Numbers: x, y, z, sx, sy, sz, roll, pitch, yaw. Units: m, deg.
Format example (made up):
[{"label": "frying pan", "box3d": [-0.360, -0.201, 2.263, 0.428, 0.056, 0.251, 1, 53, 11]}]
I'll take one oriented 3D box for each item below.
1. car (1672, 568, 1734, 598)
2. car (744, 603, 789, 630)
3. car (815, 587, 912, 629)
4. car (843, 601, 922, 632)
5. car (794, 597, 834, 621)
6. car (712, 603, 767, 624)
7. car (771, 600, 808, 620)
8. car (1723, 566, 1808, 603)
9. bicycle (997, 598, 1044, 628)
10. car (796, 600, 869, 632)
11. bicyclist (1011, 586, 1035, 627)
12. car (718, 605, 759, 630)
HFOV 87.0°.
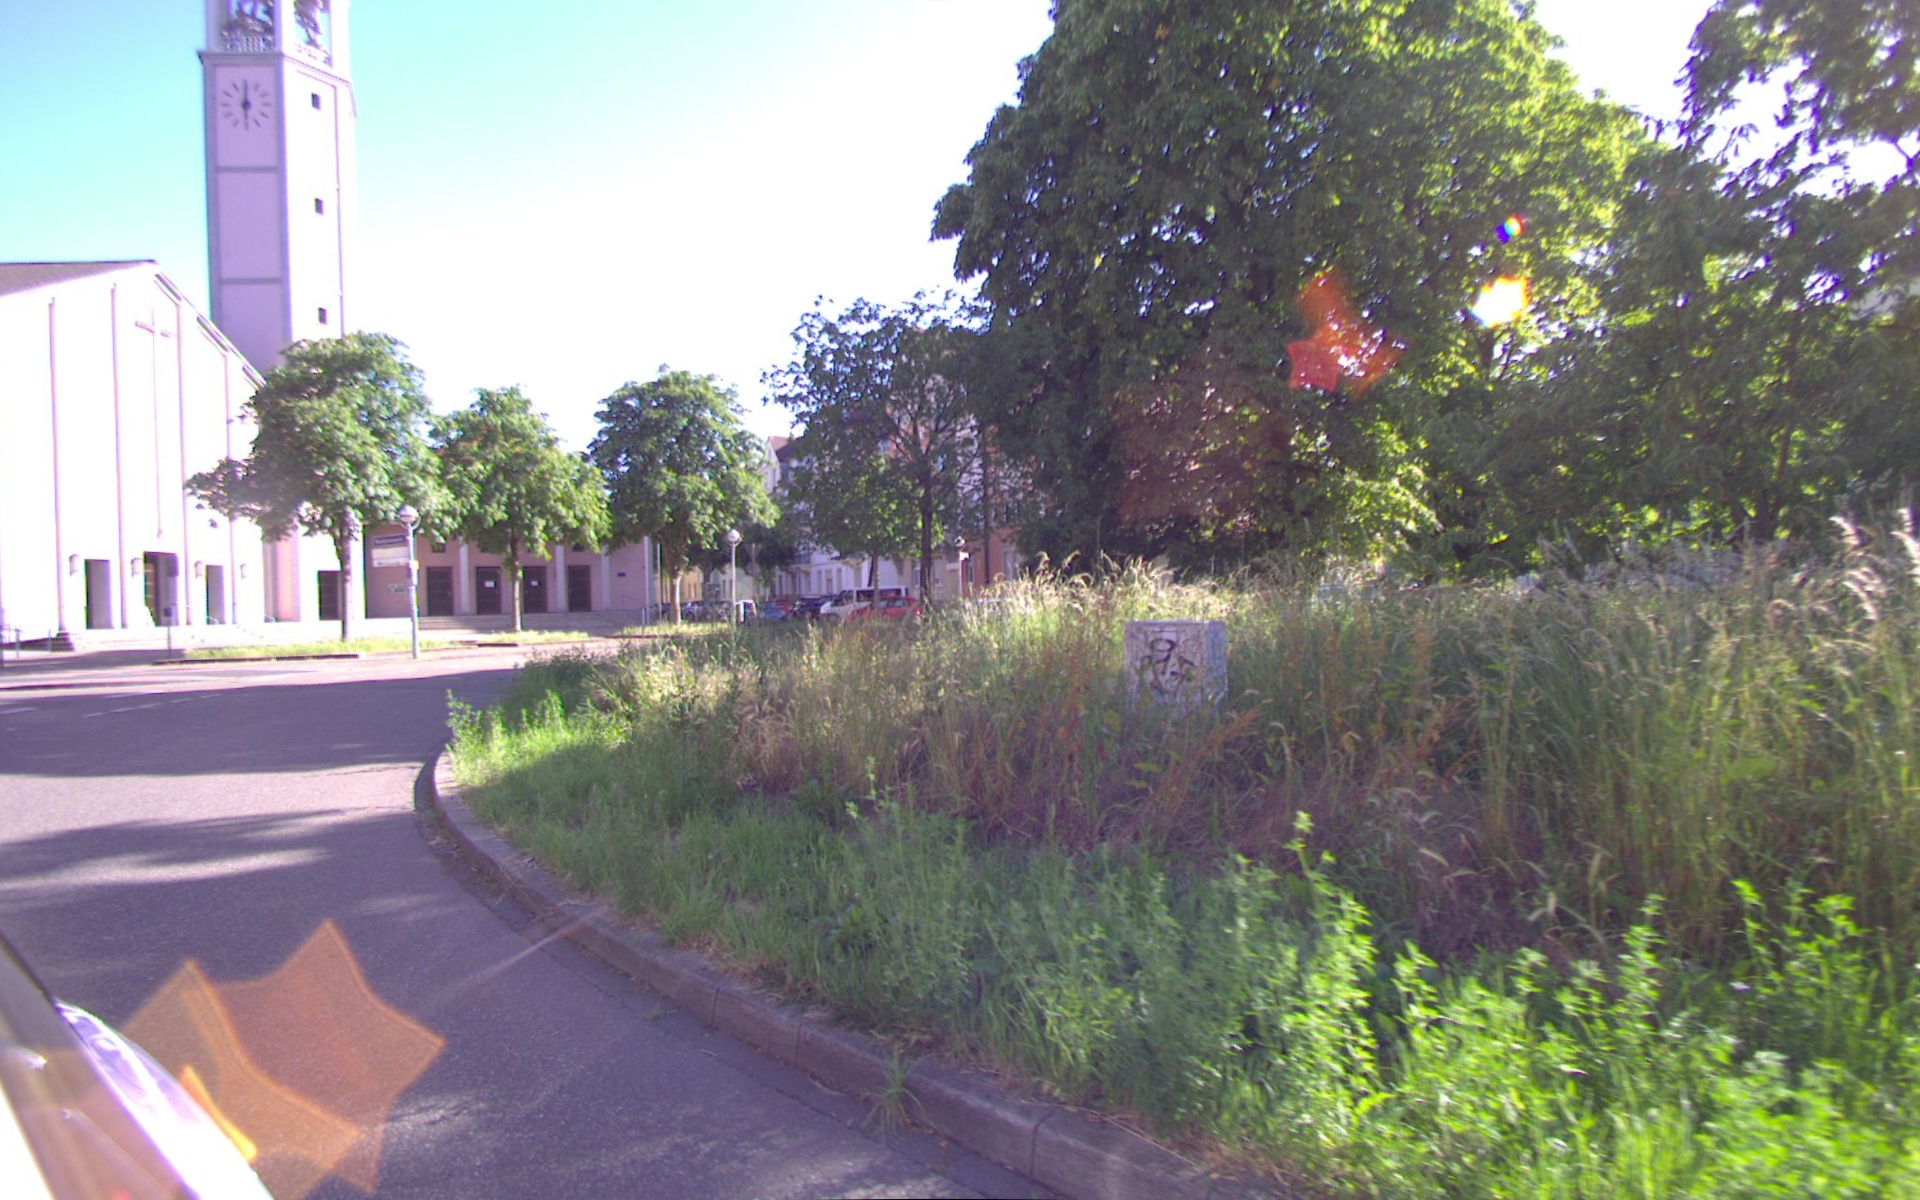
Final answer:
[{"label": "car", "box3d": [39.170, -0.864, 53.437, 1.725, 1.450, 4.351, -2, 0, 25]}, {"label": "car", "box3d": [-11.036, 0.947, 57.517, 1.586, 1.433, 3.625, -1, 0, -26]}, {"label": "car", "box3d": [-5.003, 0.400, 52.780, 4.650, 2.061, 1.989, -1, 0, 8]}, {"label": "car", "box3d": [-3.817, 0.799, 50.024, 3.649, 1.446, 1.667, -1, 0, 5]}, {"label": "car", "box3d": [-10.316, 0.633, 71.304, 1.731, 1.670, 3.968, -1, 0, -25]}, {"label": "car", "box3d": [-17.524, 1.055, 80.587, 3.911, 1.507, 1.756, -1, 0, 9]}, {"label": "car", "box3d": [-12.878, 0.761, 76.194, 1.731, 1.467, 3.968, -1, 0, -25]}, {"label": "car", "box3d": [34.036, -0.635, 42.878, 1.722, 1.422, 4.452, -2, 0, 25]}, {"label": "bicycle", "box3d": [2.570, 0.541, 43.078, 1.839, 1.207, 0.767, -2, 0, -12]}, {"label": "car", "box3d": [-7.303, 0.900, 58.273, 3.905, 1.751, 1.759, -1, 0, 5]}, {"label": "bicyclist", "box3d": [2.666, 0.254, 43.082, 0.799, 1.709, 0.767, -2, 0, -12]}, {"label": "car", "box3d": [-13.498, 1.038, 61.469, 1.586, 1.433, 3.625, -1, 0, -26]}]
